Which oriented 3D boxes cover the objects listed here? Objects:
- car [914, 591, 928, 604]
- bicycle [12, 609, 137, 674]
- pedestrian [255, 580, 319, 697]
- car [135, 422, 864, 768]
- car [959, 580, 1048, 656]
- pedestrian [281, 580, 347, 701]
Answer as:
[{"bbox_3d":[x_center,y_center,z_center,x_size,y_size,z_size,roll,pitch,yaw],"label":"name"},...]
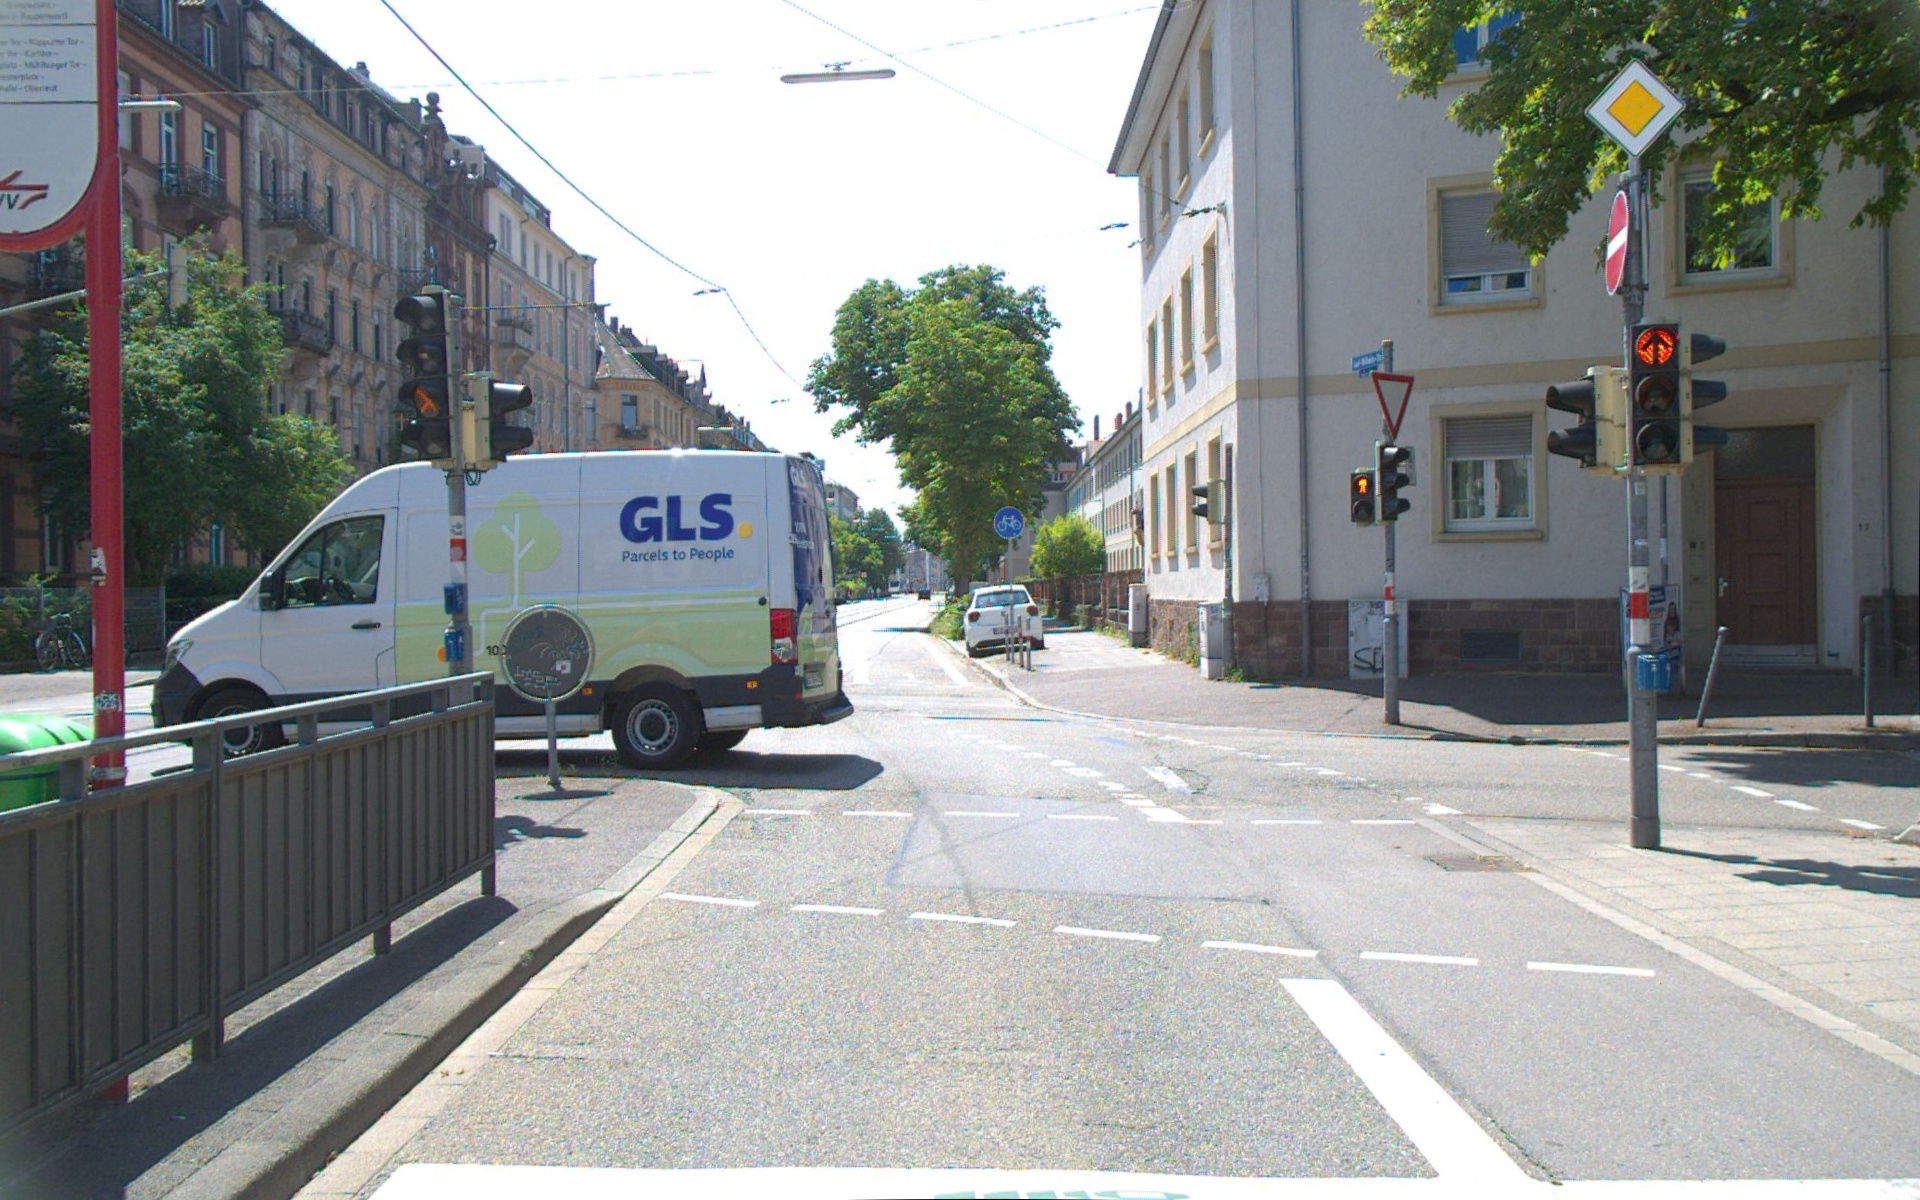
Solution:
[{"bbox_3d":[-4.937,-0.299,210.054,1.788,1.545,3.999,1,0,-1],"label":"car"},{"bbox_3d":[-16.710,0.754,31.305,0.918,1.156,2.773,1,0,-2],"label":"bicycle"},{"bbox_3d":[-9.854,0.560,24.231,0.661,1.674,0.559,1,-1,3],"label":"pedestrian"},{"bbox_3d":[-3.850,-0.025,14.458,5.685,2.720,2.276,0,-1,7],"label":"car"},{"bbox_3d":[0.931,0.391,37.341,1.778,1.542,3.999,-3,0,-1],"label":"car"},{"bbox_3d":[-9.099,0.560,23.305,0.661,1.674,0.559,1,-1,3],"label":"pedestrian"}]
